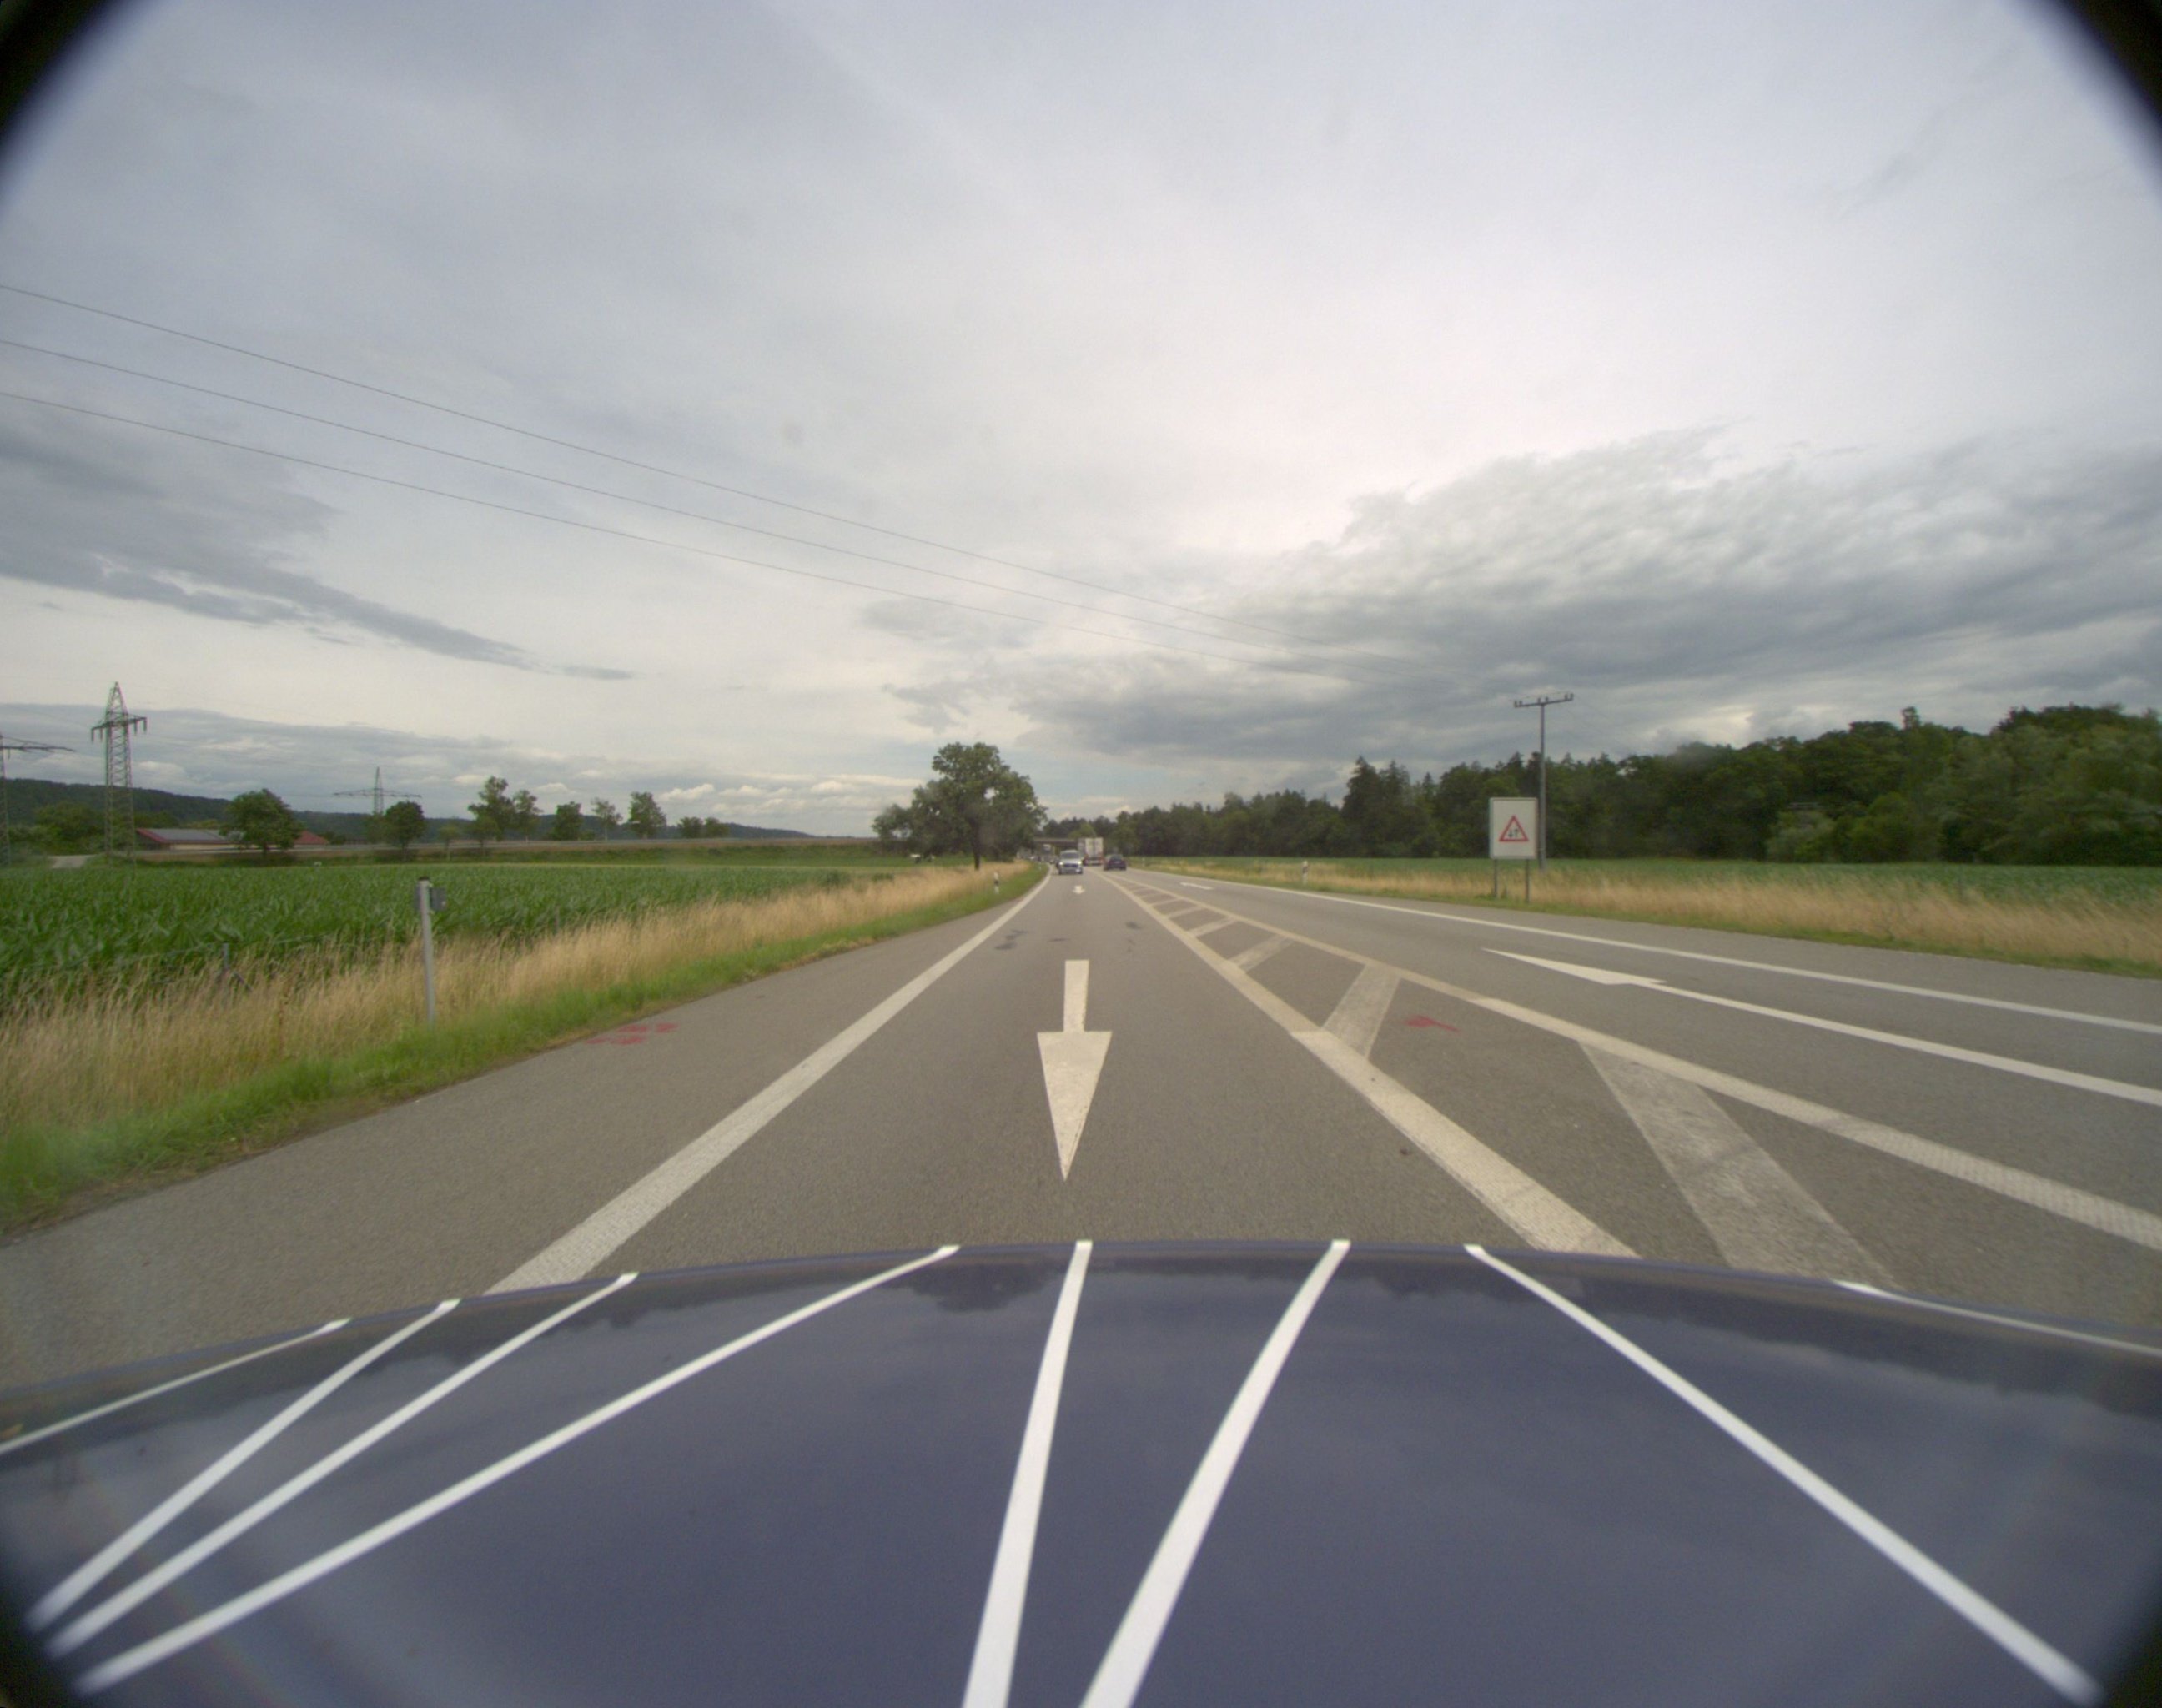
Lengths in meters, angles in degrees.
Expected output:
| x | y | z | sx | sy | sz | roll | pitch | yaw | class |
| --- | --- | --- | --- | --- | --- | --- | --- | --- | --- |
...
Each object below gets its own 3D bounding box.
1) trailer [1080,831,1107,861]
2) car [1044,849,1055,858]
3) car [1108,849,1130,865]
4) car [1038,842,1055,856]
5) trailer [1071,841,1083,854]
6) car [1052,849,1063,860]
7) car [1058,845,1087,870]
| x | y | z | sx | sy | sz | roll | pitch | yaw | class |
| --- | --- | --- | --- | --- | --- | --- | --- | --- | --- |
| 1.708 | -1.067 | 110.712 | 2.497 | 3.972 | 13.070 | -2 | 0 | -4 | trailer |
| -7.405 | -0.058 | 178.271 | 1.998 | 2.002 | 4.000 | -3 | 1 | 3 | car |
| 3.615 | 0.266 | 72.902 | 1.862 | 1.470 | 5.197 | 0 | 1 | -1 | car |
| -4.298 | -0.656 | 94.047 | 1.862 | 1.679 | 4.112 | -3 | 1 | -1 | car |
| -0.791 | -1.391 | 154.944 | 2.188 | 2.560 | 6.241 | -3 | 1 | -2 | trailer |
| -4.089 | 0.050 | 134.080 | 1.862 | 1.679 | 4.112 | -3 | 1 | -1 | car |
| -0.688 | 0.237 | 61.517 | 1.924 | 1.823 | 3.997 | -3 | 1 | -6 | car |
